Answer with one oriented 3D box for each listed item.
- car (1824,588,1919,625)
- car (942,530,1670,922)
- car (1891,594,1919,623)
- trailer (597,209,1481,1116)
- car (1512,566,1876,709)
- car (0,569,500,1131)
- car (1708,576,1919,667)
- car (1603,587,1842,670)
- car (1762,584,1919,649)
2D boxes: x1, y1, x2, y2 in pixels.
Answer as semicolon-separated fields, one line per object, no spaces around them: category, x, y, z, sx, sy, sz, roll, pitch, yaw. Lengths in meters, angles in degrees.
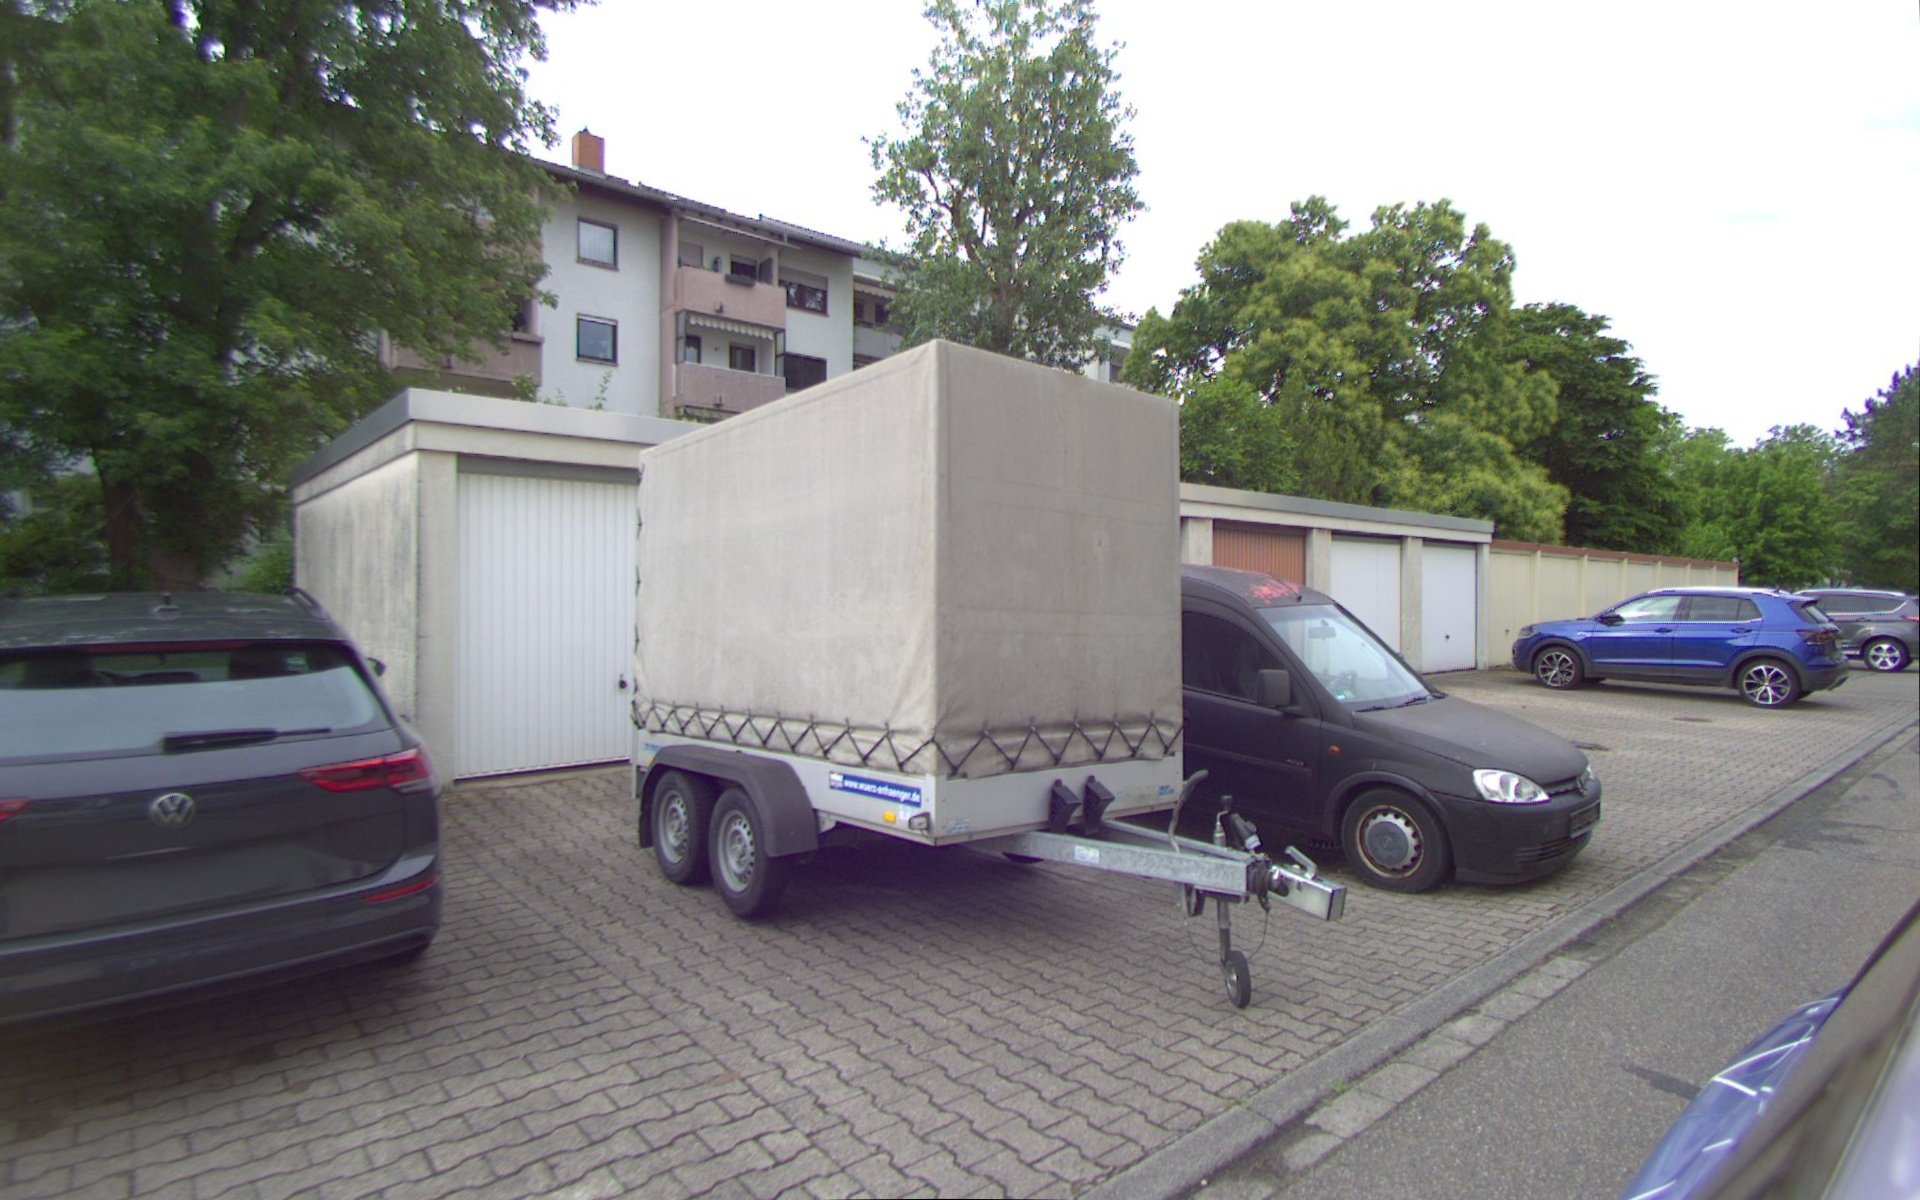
car;43.480;0.310;47.392;1.756;1.503;4.334;0;3;-40
car;2.027;0.487;6.980;1.965;1.824;4.319;0;2;-41
car;52.196;0.462;53.612;1.757;1.504;4.100;0;1;-41
trailer;-0.097;0.167;5.254;1.908;2.557;4.618;0;0;-40
car;10.715;0.434;14.989;1.965;1.724;3.995;0;2;-41
car;-3.511;0.620;4.503;1.584;1.467;4.135;0;1;-41
car;19.360;0.415;22.349;1.965;1.748;4.204;0;2;-41
car;16.352;0.540;21.819;1.965;1.463;3.765;0;2;-41
car;25.230;0.439;28.137;1.902;1.605;4.296;0;2;-41
